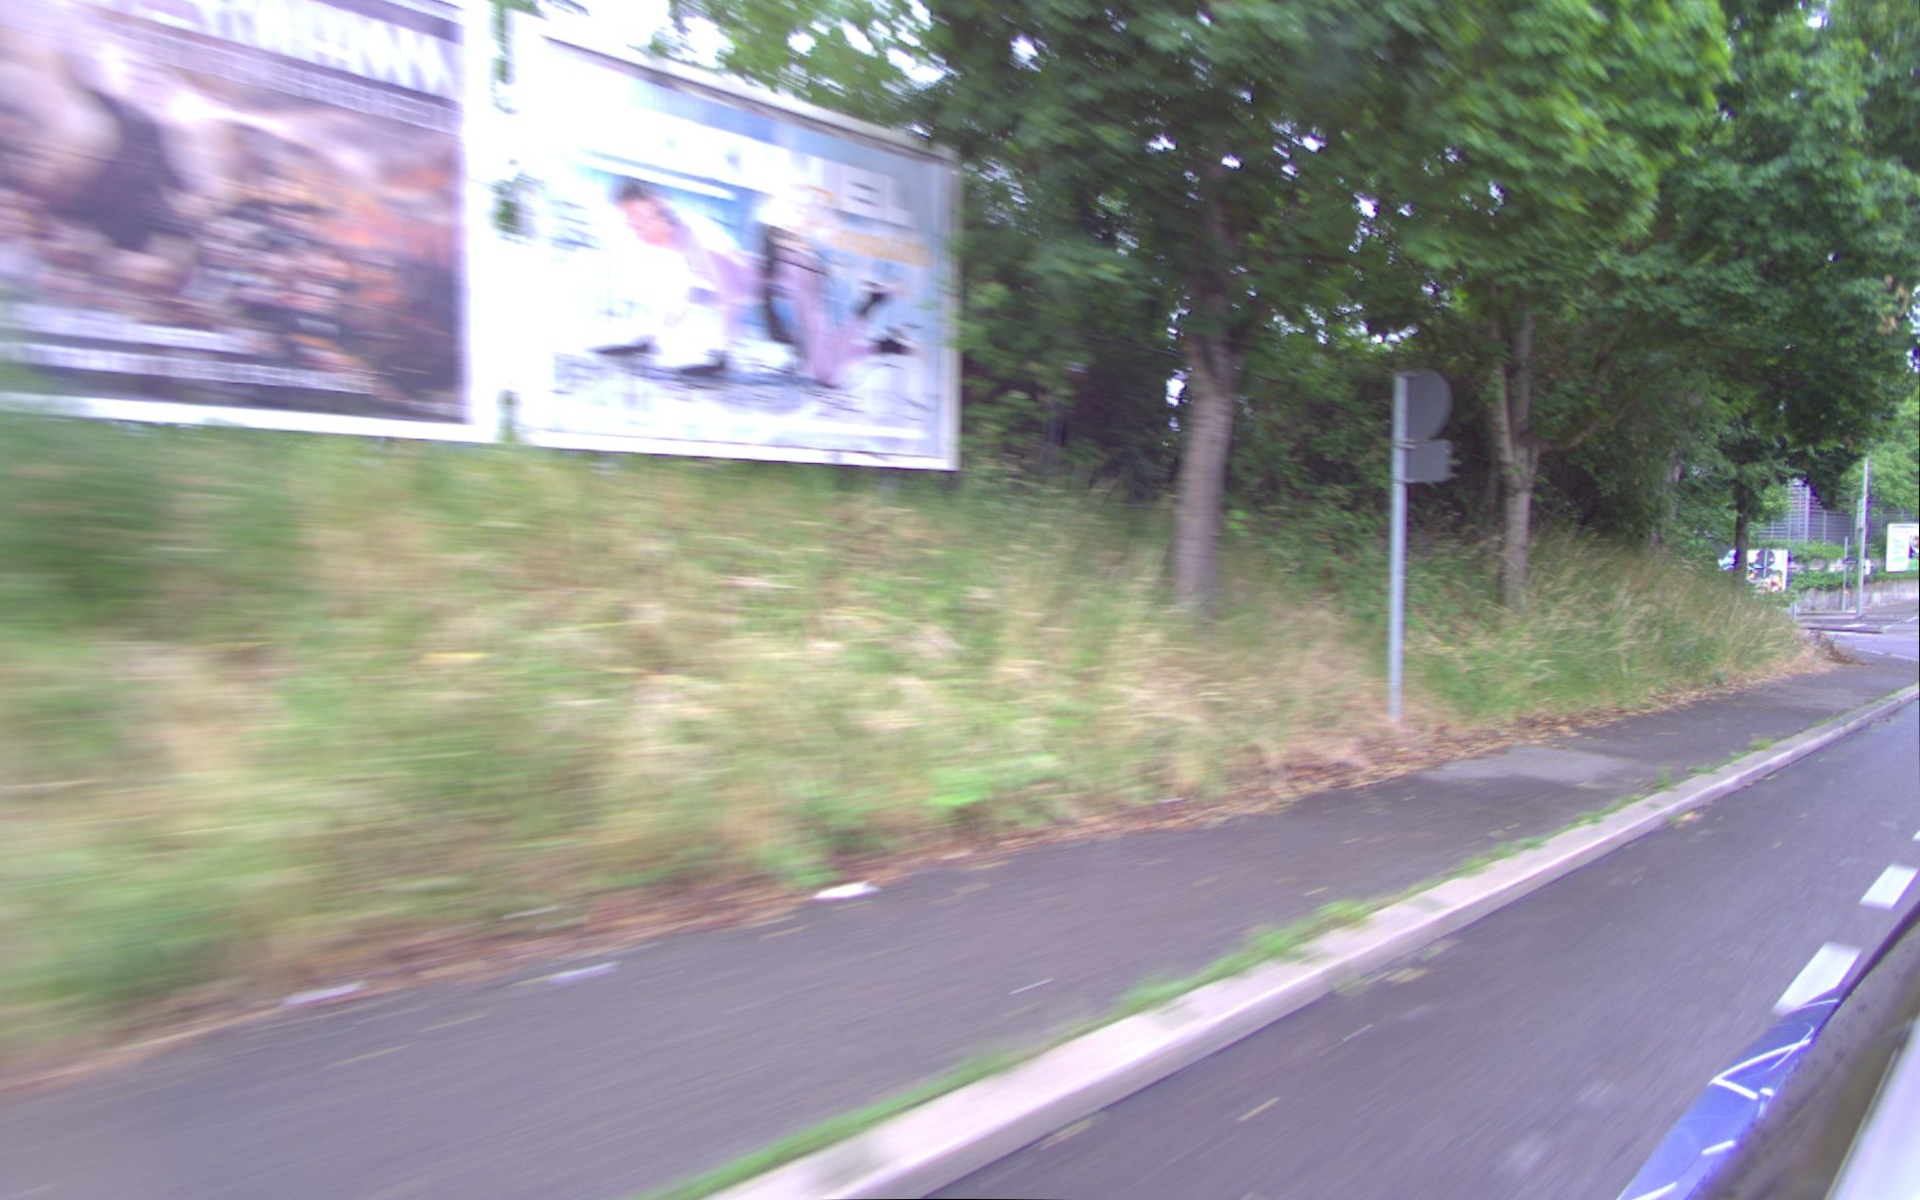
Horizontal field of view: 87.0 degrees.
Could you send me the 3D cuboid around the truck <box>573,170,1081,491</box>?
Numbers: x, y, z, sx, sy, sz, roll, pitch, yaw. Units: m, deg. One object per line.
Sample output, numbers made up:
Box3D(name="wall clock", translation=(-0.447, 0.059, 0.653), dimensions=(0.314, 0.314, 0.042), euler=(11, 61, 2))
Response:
Box3D(name="truck", translation=(-1.425, -2.966, 12.775), dimensions=(5.948, 2.684, 2.287), euler=(-3, -2, -41))
